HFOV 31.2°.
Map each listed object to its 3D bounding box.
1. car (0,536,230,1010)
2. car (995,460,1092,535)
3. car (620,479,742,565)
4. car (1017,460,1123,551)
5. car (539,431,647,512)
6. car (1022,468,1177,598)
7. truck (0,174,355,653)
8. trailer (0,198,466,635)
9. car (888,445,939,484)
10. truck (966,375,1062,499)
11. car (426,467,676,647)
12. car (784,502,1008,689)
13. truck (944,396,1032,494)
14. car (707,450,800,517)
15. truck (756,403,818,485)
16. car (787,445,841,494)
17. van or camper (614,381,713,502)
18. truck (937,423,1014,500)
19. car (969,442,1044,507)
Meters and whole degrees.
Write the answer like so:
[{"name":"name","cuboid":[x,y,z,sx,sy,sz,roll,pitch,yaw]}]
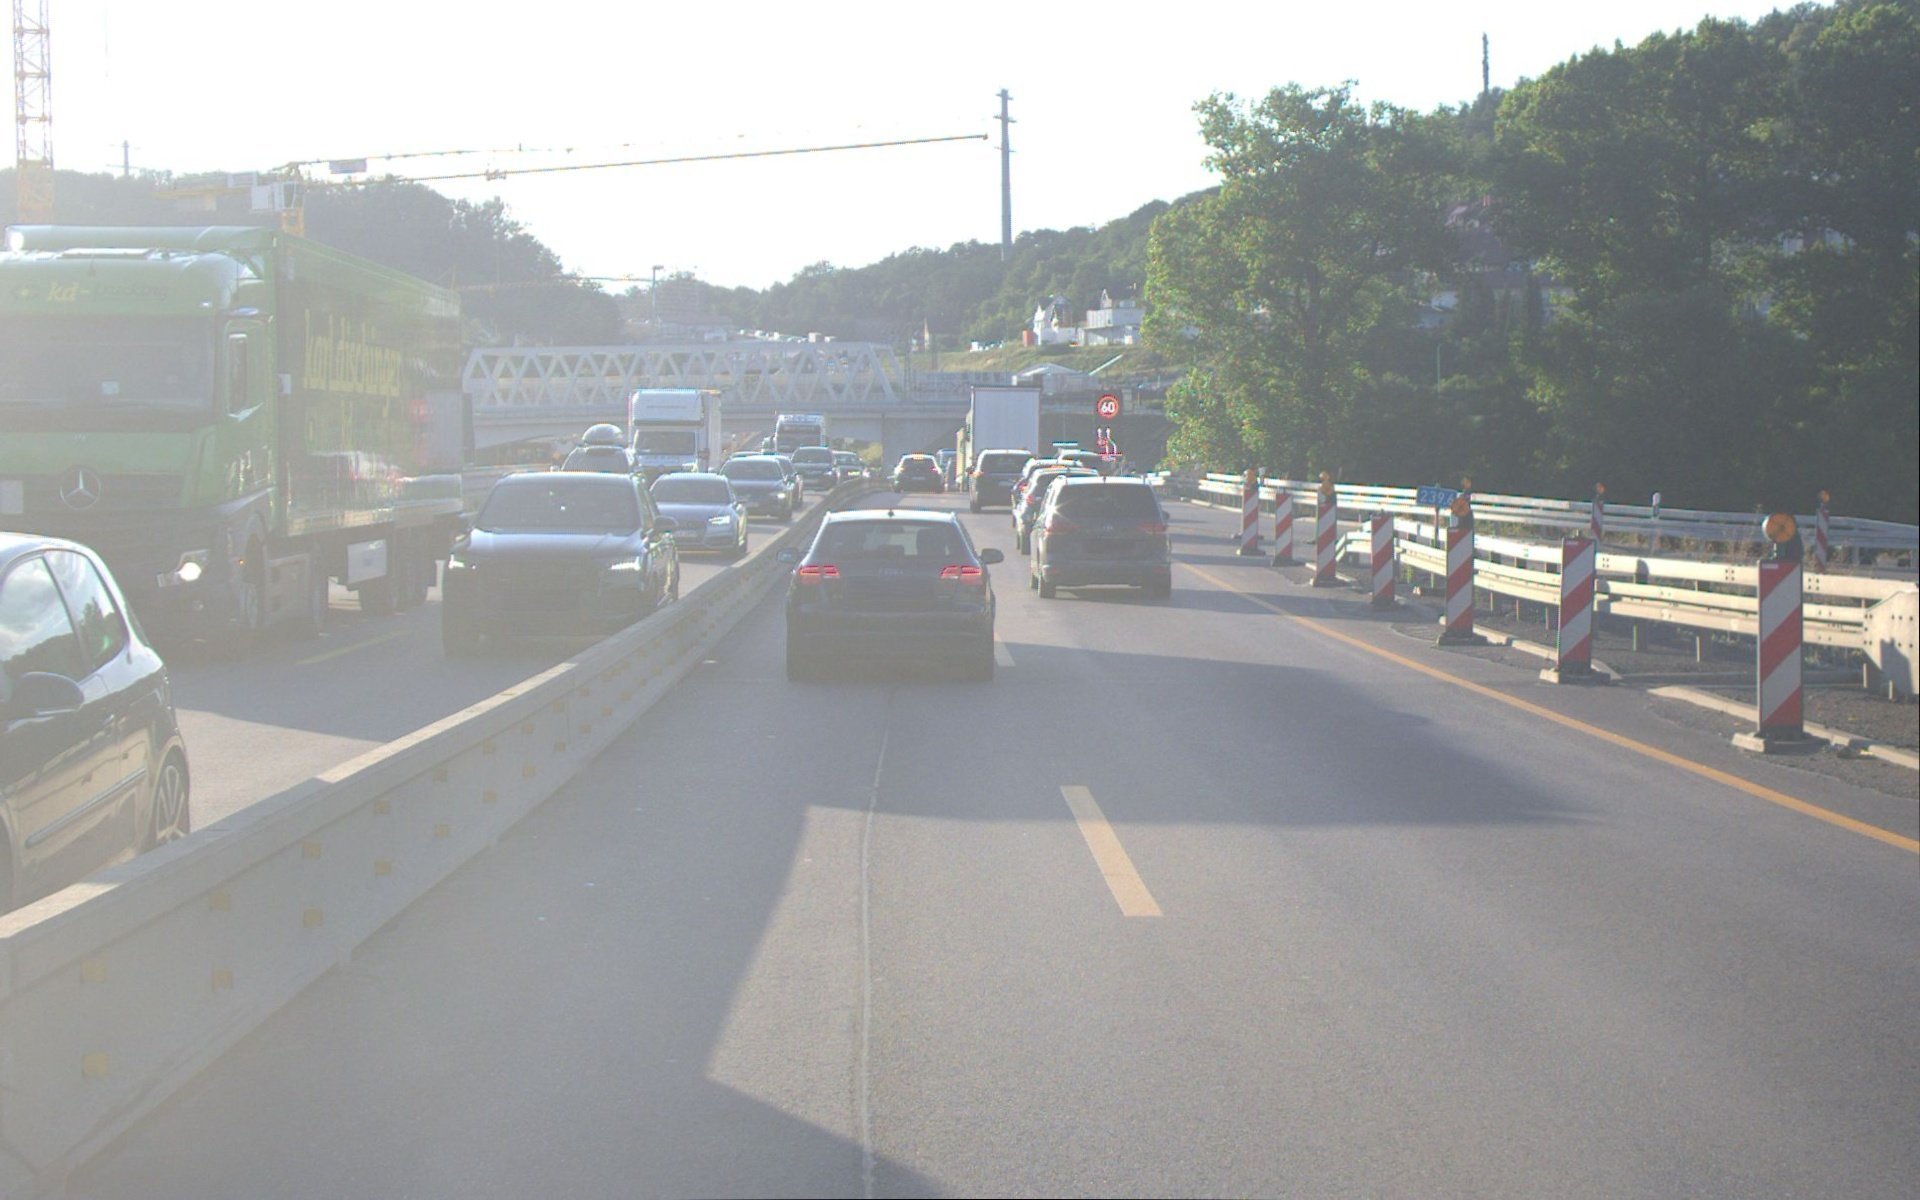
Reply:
[{"name":"car","cuboid":[-3.708,0.487,11.342,1.715,1.405,4.328,0,1,-1]},{"name":"car","cuboid":[1.823,-2.273,76.460,1.875,1.594,4.966,0,1,-2]},{"name":"car","cuboid":[-4.876,-1.395,60.475,1.861,1.427,4.156,1,2,-1]},{"name":"car","cuboid":[1.988,-1.762,63.116,1.774,1.580,4.135,1,2,0]},{"name":"car","cuboid":[-8.291,-2.909,77.925,1.993,1.758,4.441,1,2,0]},{"name":"car","cuboid":[1.863,-0.964,47.151,1.812,1.609,4.527,0,3,-2]},{"name":"truck","cuboid":[-7.592,-1.697,32.425,2.769,4.067,5.777,1,2,-1]},{"name":"trailer","cuboid":[-7.798,-1.928,38.880,2.773,4.017,13.685,1,2,-2]},{"name":"car","cuboid":[-1.754,-5.134,130.344,1.863,1.415,4.001,2,2,-1]},{"name":"truck","cuboid":[2.010,-6.498,134.478,3.385,4.482,15.270,1,4,0]},{"name":"car","cuboid":[-3.873,-0.425,33.241,1.911,1.603,4.495,0,1,-1]},{"name":"car","cuboid":[-0.595,-0.091,29.595,1.770,1.385,4.001,1,3,-2]},{"name":"truck","cuboid":[1.254,-7.544,166.932,3.890,4.482,15.269,1,3,-1]},{"name":"car","cuboid":[-4.889,-2.753,81.789,1.816,1.458,4.706,1,1,1]},{"name":"truck","cuboid":[-8.669,-7.804,172.793,2.814,4.034,5.673,0,2,1]},{"name":"car","cuboid":[-5.031,-4.521,118.736,1.827,1.634,4.531,0,2,-2]},{"name":"van or camper","cuboid":[-8.851,-4.764,103.243,2.457,3.486,7.415,1,3,-1]},{"name":"truck","cuboid":[0.887,-8.544,210.701,3.890,4.482,13.851,1,3,-3]},{"name":"car","cuboid":[1.205,-3.308,91.007,1.814,1.626,4.412,1,2,-1]}]
